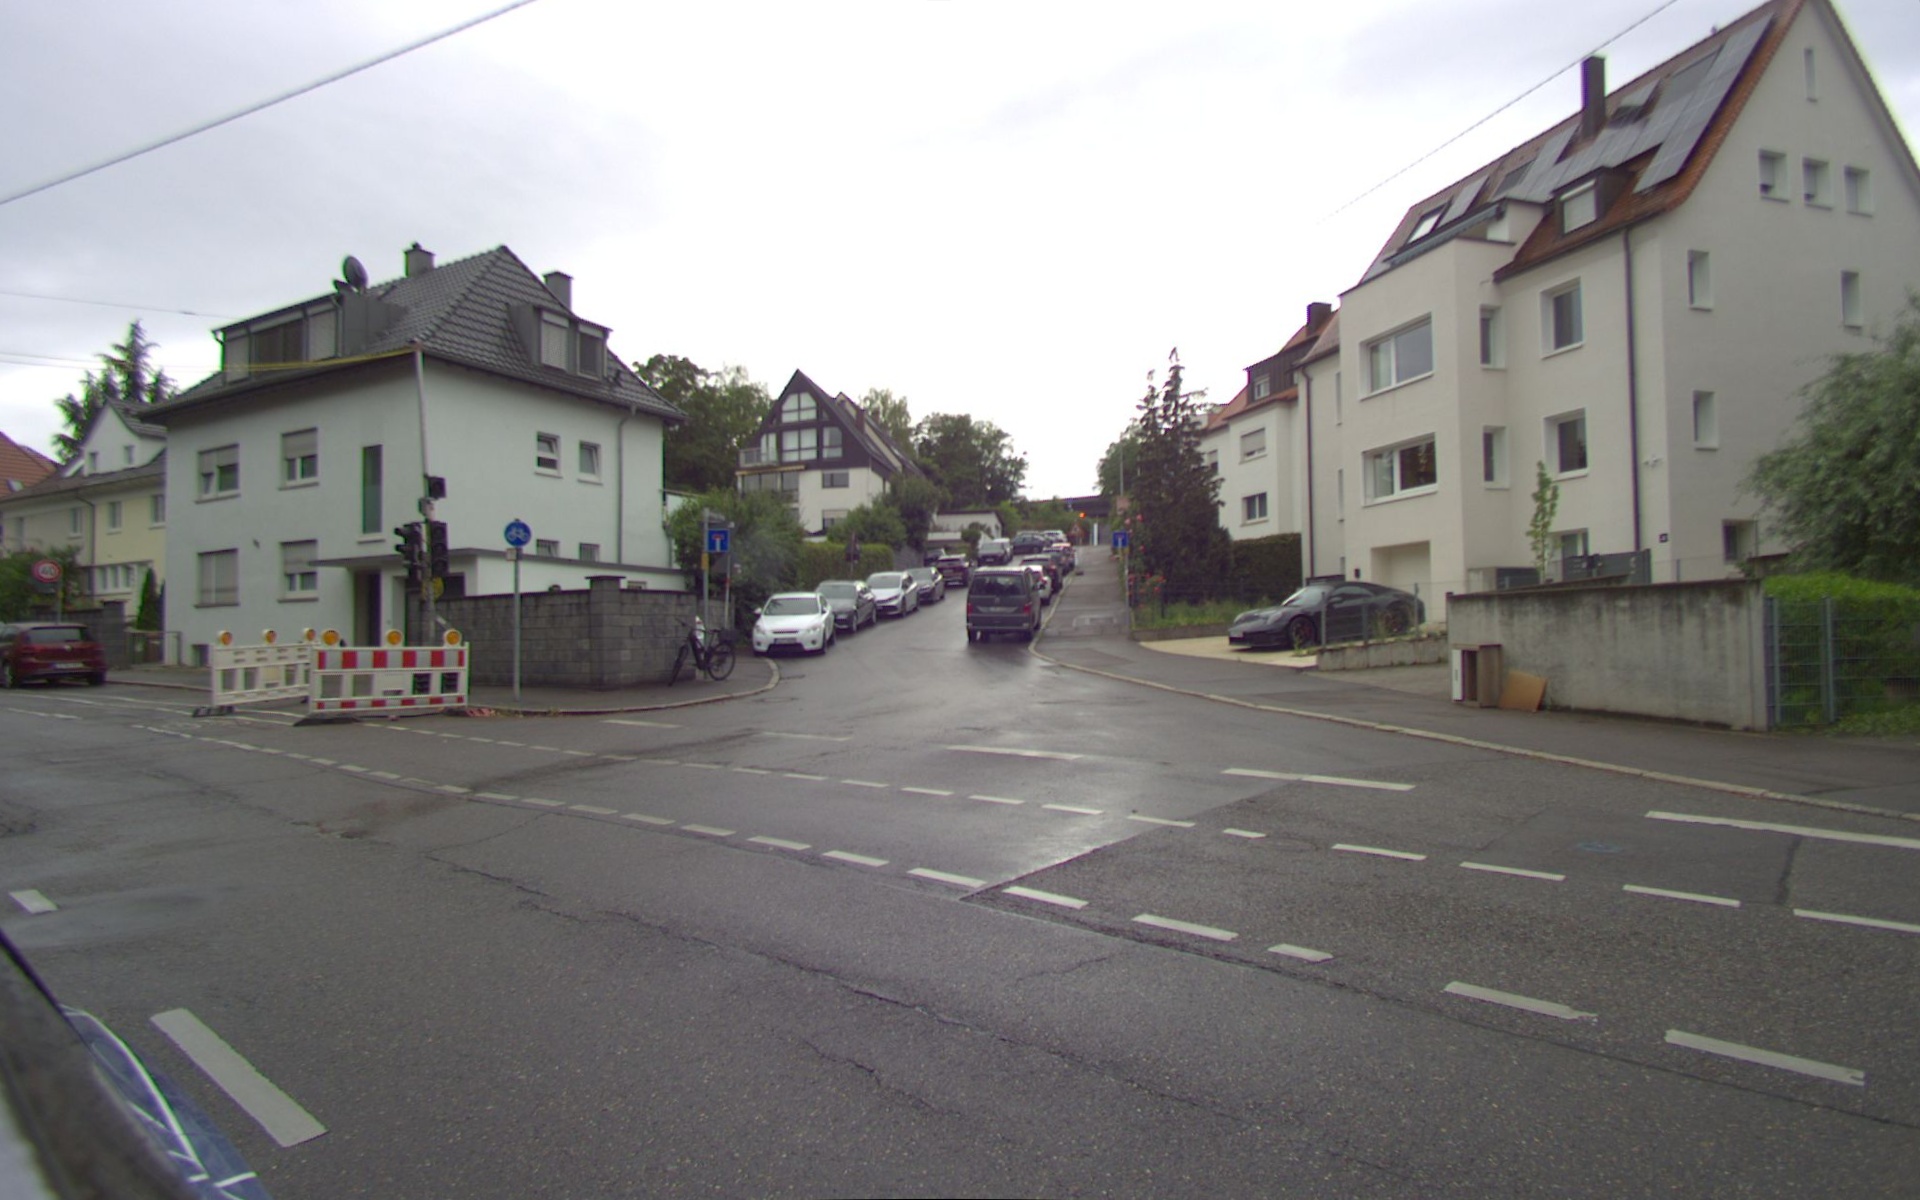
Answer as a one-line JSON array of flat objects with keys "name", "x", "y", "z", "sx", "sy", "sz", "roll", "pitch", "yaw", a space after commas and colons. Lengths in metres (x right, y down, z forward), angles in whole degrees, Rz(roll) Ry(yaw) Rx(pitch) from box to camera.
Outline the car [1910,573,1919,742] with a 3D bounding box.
[{"name": "car", "x": 10.615, "y": 0.424, "z": 8.539, "sx": 3.934, "sy": 1.497, "sz": 1.780, "roll": -2, "pitch": -1, "yaw": -12}]

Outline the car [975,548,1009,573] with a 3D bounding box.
[{"name": "car", "x": 2.200, "y": -2.668, "z": 68.875, "sx": 1.770, "sy": 1.531, "sz": 4.016, "roll": -1, "pitch": 0, "yaw": 9}]

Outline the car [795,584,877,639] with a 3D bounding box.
[{"name": "car", "x": -3.819, "y": 0.321, "z": 31.807, "sx": 1.702, "sy": 1.397, "sz": 3.900, "roll": -1, "pitch": 4, "yaw": 6}]

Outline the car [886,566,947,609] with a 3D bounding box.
[{"name": "car", "x": -1.800, "y": -0.551, "z": 42.948, "sx": 1.903, "sy": 1.448, "sz": 4.100, "roll": -1, "pitch": 5, "yaw": 7}]

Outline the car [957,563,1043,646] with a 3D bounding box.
[{"name": "car", "x": 1.250, "y": 0.052, "z": 29.314, "sx": 1.978, "sy": 2.028, "sz": 4.482, "roll": -1, "pitch": 4, "yaw": 9}]

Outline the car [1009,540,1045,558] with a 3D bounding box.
[{"name": "car", "x": 5.556, "y": -4.196, "z": 83.644, "sx": 2.914, "sy": 1.328, "sz": 1.282, "roll": -1, "pitch": 0, "yaw": 4}]

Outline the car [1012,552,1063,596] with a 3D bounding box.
[{"name": "car", "x": 3.528, "y": -1.191, "z": 45.366, "sx": 1.823, "sy": 1.699, "sz": 4.039, "roll": -1, "pitch": 5, "yaw": 11}]

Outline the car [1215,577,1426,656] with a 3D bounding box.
[{"name": "car", "x": 7.716, "y": 0.335, "z": 21.762, "sx": 3.942, "sy": 1.290, "sz": 1.613, "roll": -5, "pitch": 1, "yaw": -13}]

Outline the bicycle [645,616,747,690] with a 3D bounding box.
[{"name": "bicycle", "x": -4.777, "y": 0.933, "z": 18.446, "sx": 0.508, "sy": 1.249, "sz": 1.984, "roll": 1, "pitch": 0, "yaw": 32}]

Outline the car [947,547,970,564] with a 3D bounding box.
[{"name": "car", "x": -0.078, "y": -3.256, "z": 74.010, "sx": 1.559, "sy": 1.220, "sz": 3.650, "roll": -1, "pitch": 3, "yaw": 2}]

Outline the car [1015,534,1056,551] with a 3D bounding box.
[{"name": "car", "x": 7.393, "y": -5.587, "z": 98.779, "sx": 3.922, "sy": 1.528, "sz": 1.748, "roll": -1, "pitch": 0, "yaw": 6}]

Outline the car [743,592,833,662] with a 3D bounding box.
[{"name": "car", "x": -4.345, "y": 0.627, "z": 26.144, "sx": 1.827, "sy": 1.473, "sz": 4.124, "roll": -1, "pitch": 3, "yaw": -3}]

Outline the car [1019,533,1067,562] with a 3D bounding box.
[{"name": "car", "x": 7.205, "y": -4.559, "z": 87.633, "sx": 3.954, "sy": 2.028, "sz": 1.995, "roll": -5, "pitch": -1, "yaw": 8}]

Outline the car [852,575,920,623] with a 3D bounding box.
[{"name": "car", "x": -2.650, "y": -0.083, "z": 37.076, "sx": 1.738, "sy": 1.481, "sz": 3.940, "roll": -1, "pitch": 4, "yaw": 6}]

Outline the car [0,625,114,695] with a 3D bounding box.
[{"name": "car", "x": -21.460, "y": 1.336, "z": 23.369, "sx": 3.833, "sy": 1.443, "sz": 1.768, "roll": -1, "pitch": -1, "yaw": 30}]

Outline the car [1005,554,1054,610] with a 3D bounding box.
[{"name": "car", "x": 2.827, "y": -0.752, "z": 40.313, "sx": 1.686, "sy": 1.843, "sz": 4.194, "roll": -1, "pitch": 6, "yaw": 7}]

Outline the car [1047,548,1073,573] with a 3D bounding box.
[{"name": "car", "x": 6.243, "y": -2.445, "z": 62.838, "sx": 1.488, "sy": 1.373, "sz": 3.465, "roll": -1, "pitch": 0, "yaw": 8}]

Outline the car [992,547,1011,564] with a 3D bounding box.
[{"name": "car", "x": 3.062, "y": -3.324, "z": 74.700, "sx": 1.292, "sy": 1.206, "sz": 2.980, "roll": -1, "pitch": 3, "yaw": 5}]

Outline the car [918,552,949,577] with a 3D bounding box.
[{"name": "car", "x": -1.823, "y": -2.416, "z": 69.782, "sx": 1.793, "sy": 1.566, "sz": 4.009, "roll": -1, "pitch": 0, "yaw": 3}]

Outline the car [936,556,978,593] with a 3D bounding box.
[{"name": "car", "x": -0.108, "y": -1.361, "z": 52.454, "sx": 1.623, "sy": 1.637, "sz": 3.992, "roll": -1, "pitch": 5, "yaw": 8}]

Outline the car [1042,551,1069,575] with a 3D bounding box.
[{"name": "car", "x": 5.508, "y": -2.141, "z": 58.101, "sx": 1.274, "sy": 1.325, "sz": 2.984, "roll": -1, "pitch": 3, "yaw": 10}]

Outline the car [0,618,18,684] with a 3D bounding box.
[{"name": "car", "x": -26.145, "y": 1.320, "z": 25.761, "sx": 4.131, "sy": 1.653, "sz": 1.782, "roll": -1, "pitch": -1, "yaw": 25}]

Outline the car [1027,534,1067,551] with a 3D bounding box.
[{"name": "car", "x": 8.940, "y": -5.897, "z": 103.904, "sx": 3.782, "sy": 1.529, "sz": 1.664, "roll": -1, "pitch": -1, "yaw": 15}]
